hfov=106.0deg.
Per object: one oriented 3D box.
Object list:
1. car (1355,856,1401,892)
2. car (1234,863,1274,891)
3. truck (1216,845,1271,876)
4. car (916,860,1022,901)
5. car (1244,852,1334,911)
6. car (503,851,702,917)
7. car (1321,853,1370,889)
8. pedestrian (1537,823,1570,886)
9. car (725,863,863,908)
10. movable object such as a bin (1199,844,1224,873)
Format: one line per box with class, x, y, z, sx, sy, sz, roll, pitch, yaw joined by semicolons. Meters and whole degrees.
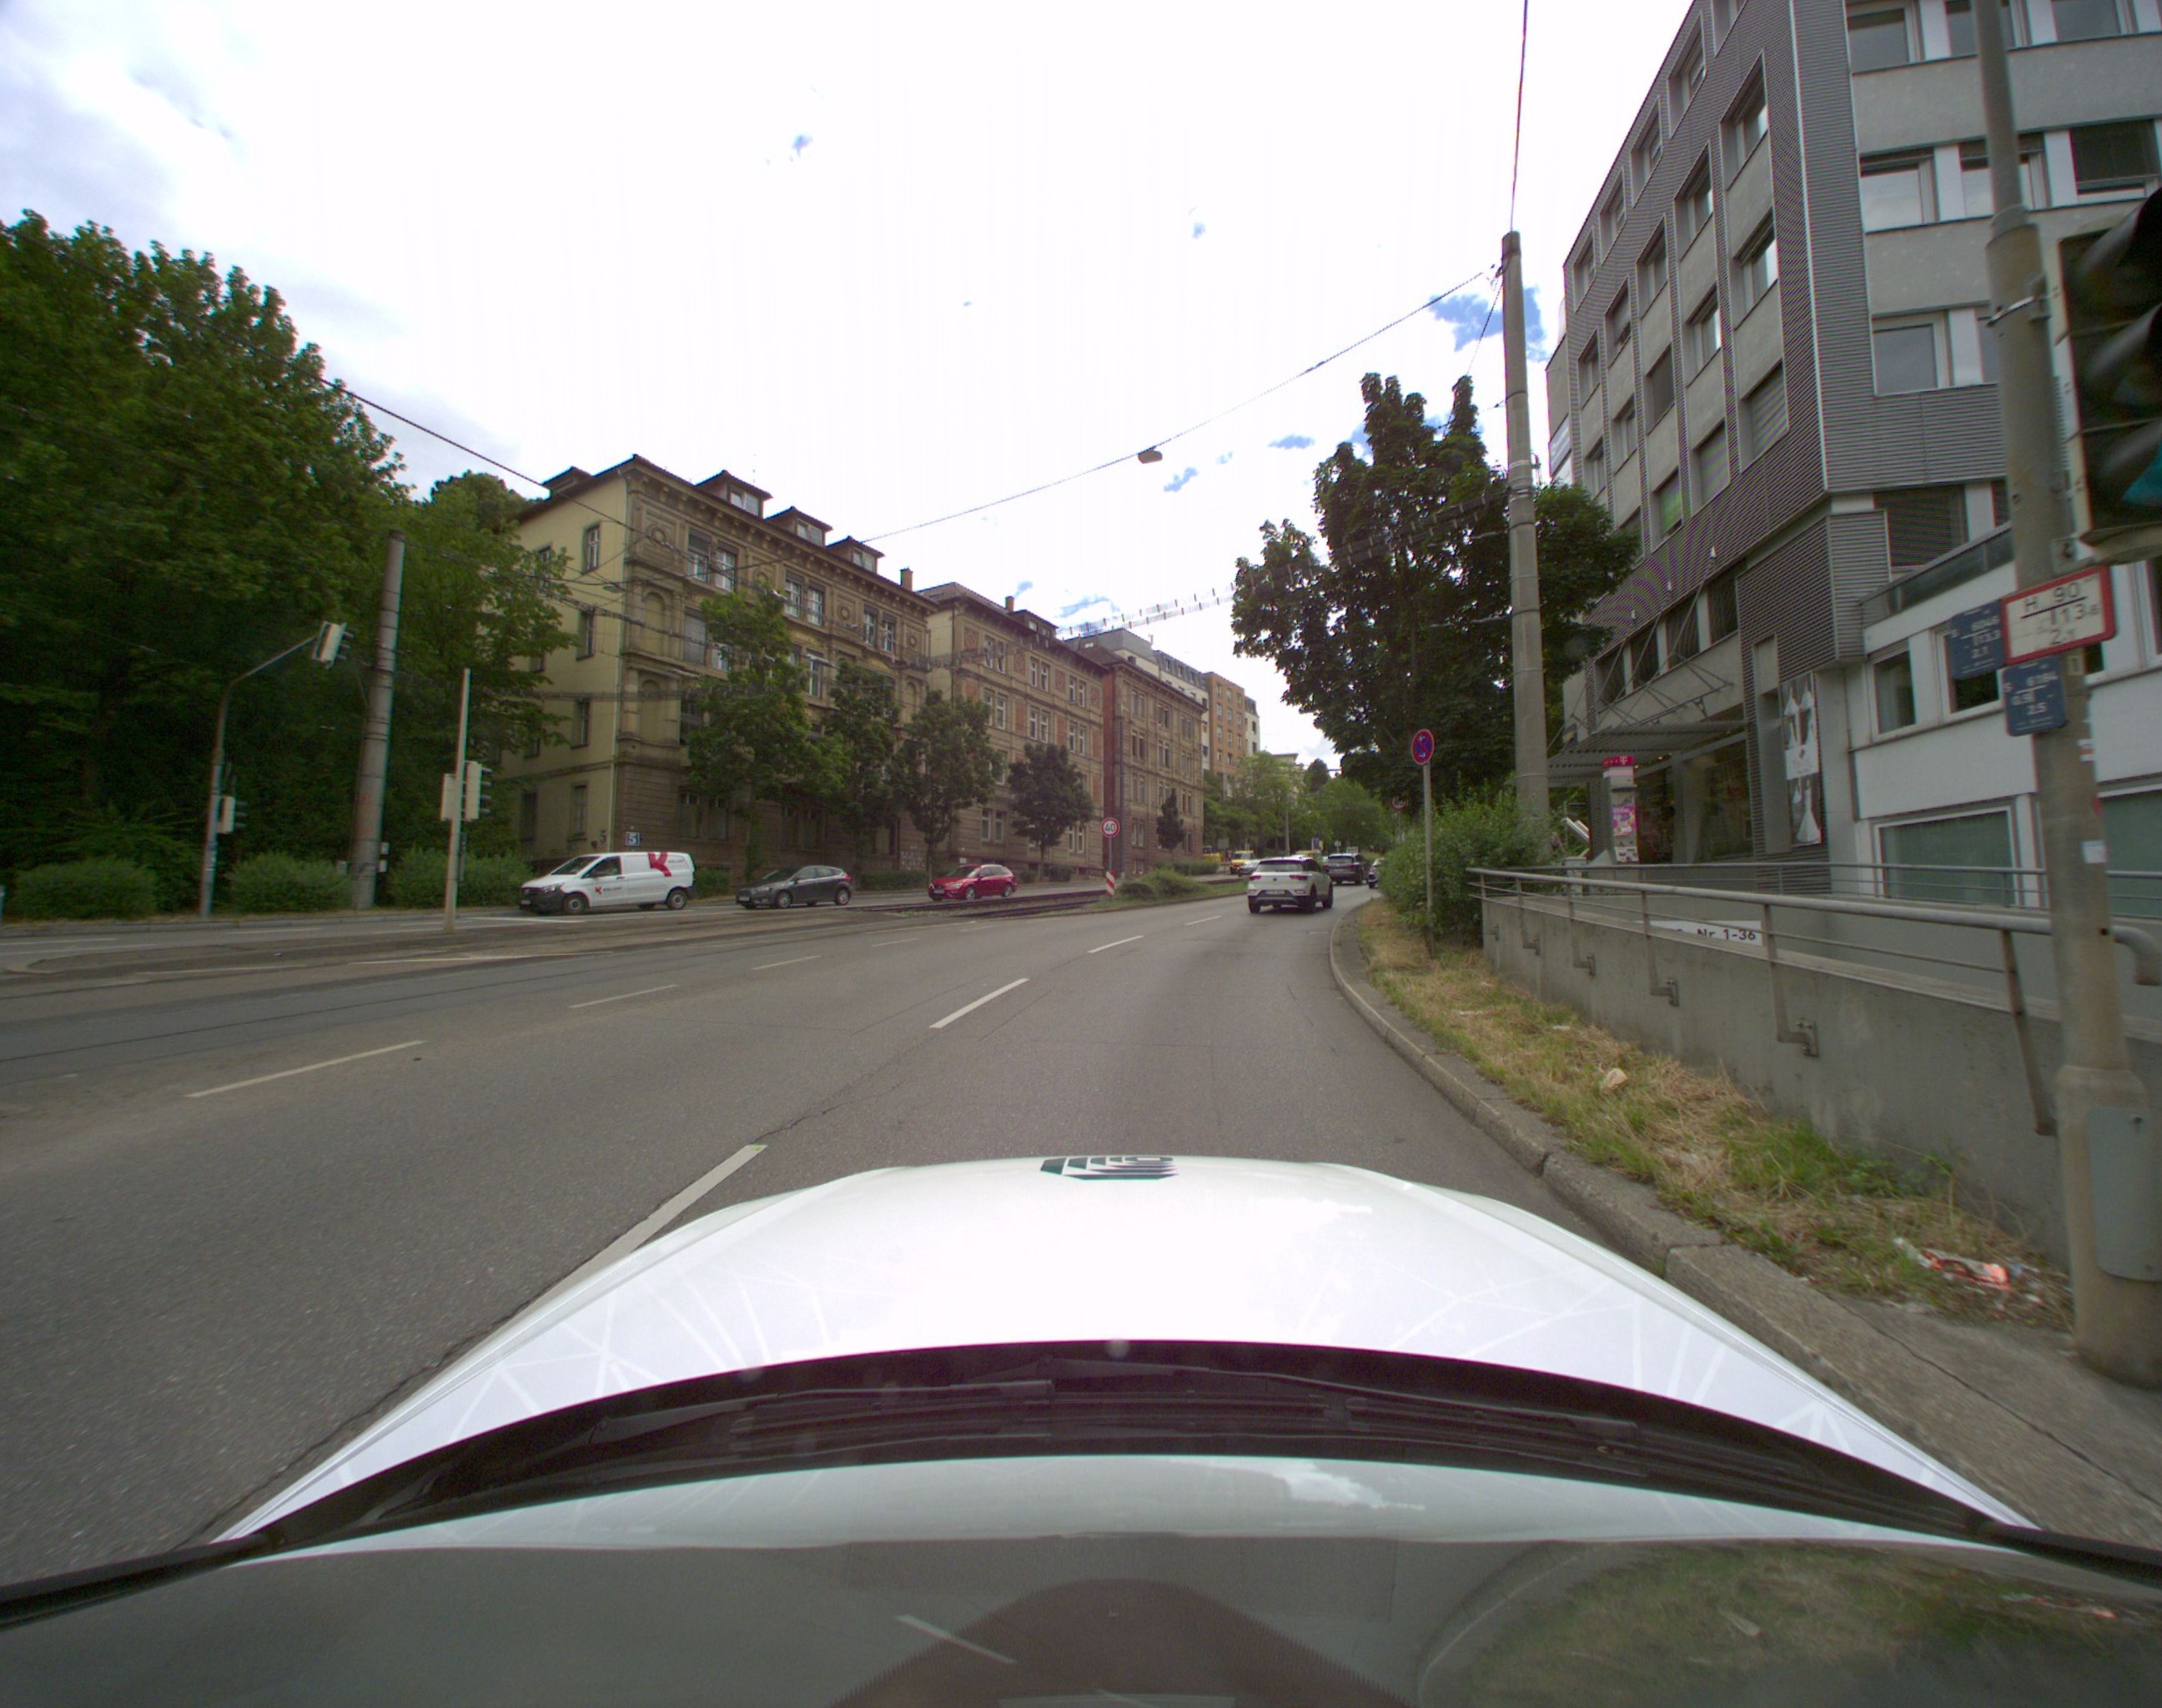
car;14.204;0.966;38.845;1.886;1.574;3.854;1;-2;23
car;14.732;1.976;69.239;1.802;1.452;4.971;0;-12;30
truck;15.985;0.677;79.817;2.890;2.509;7.197;6;1;31
car;-4.487;1.100;33.267;1.974;1.519;4.432;-3;-3;29
car;6.109;0.767;23.563;1.921;1.567;4.068;0;-1;23
car;-14.704;0.873;25.404;1.975;1.850;5.023;0;-1;28
car;14.017;0.857;43.045;1.822;1.739;4.024;0;1;28
pedestrian;13.637;0.025;23.514;0.669;1.794;0.610;0;-1;10
car;-9.843;1.085;28.235;1.726;1.427;4.433;-2;-2;30
movable object such as a bin;13.298;0.469;82.986;1.975;2.838;2.041;-2;-2;25
